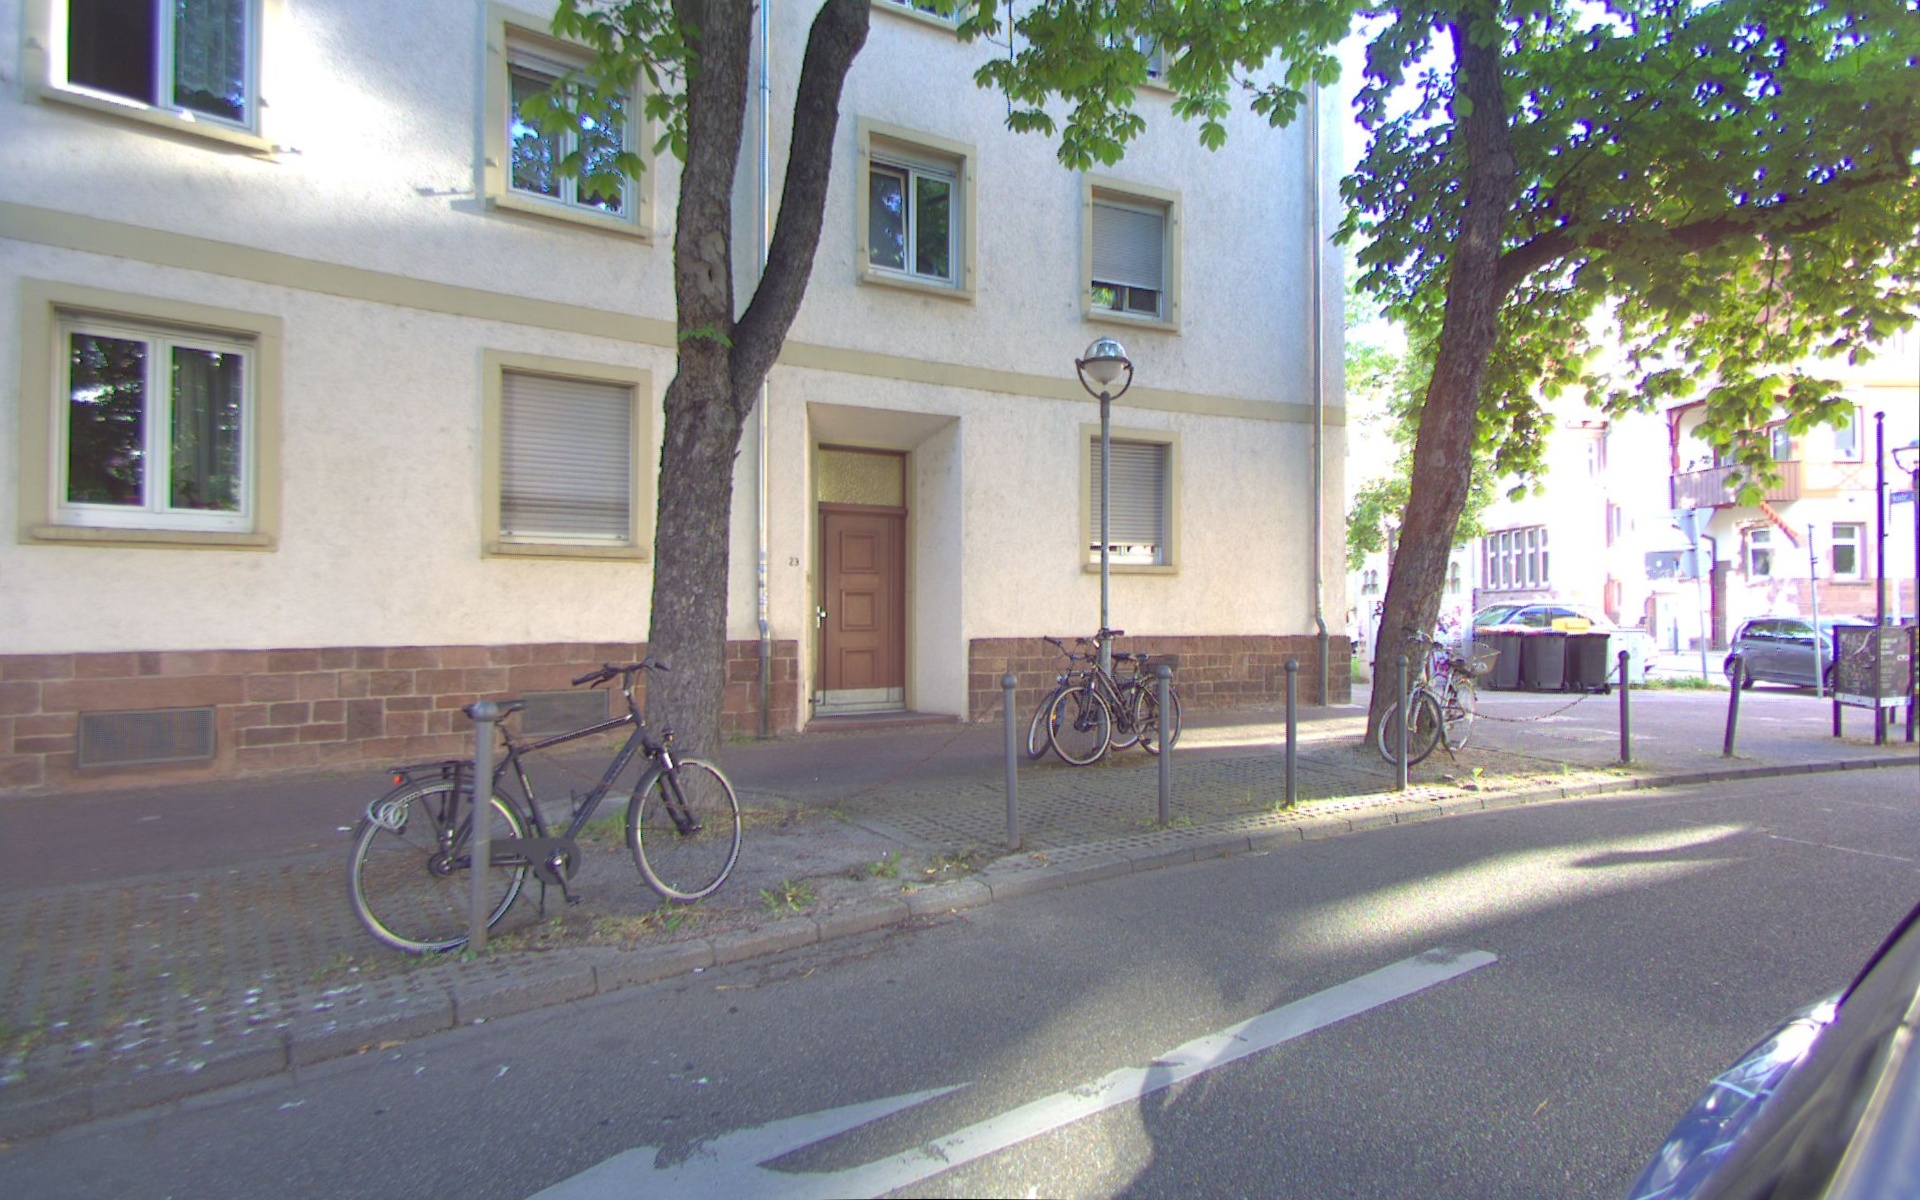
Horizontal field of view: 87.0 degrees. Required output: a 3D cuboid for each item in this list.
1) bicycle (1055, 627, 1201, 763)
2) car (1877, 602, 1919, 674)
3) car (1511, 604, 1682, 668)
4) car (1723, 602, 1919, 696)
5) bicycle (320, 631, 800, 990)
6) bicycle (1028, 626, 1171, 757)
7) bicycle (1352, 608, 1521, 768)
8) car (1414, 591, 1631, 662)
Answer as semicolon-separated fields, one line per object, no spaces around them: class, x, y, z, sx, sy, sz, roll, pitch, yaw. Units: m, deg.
bicycle;1.538;0.813;9.100;1.607;1.108;0.334;0;-1;-41
car;21.580;0.823;21.322;1.463;1.559;3.217;1;0;-3
car;16.845;0.926;27.070;1.771;1.572;4.187;0;-1;-3
car;16.803;0.846;19.037;1.663;1.572;4.053;0;-1;-2
bicycle;-1.708;0.785;4.553;1.882;1.238;0.718;0;-1;-43
bicycle;1.326;0.811;9.424;1.607;1.108;0.334;0;-1;-41
bicycle;4.403;0.734;9.292;1.871;1.321;0.766;0;-1;-43
car;11.992;0.548;21.713;3.728;1.443;1.677;0;-1;-5
